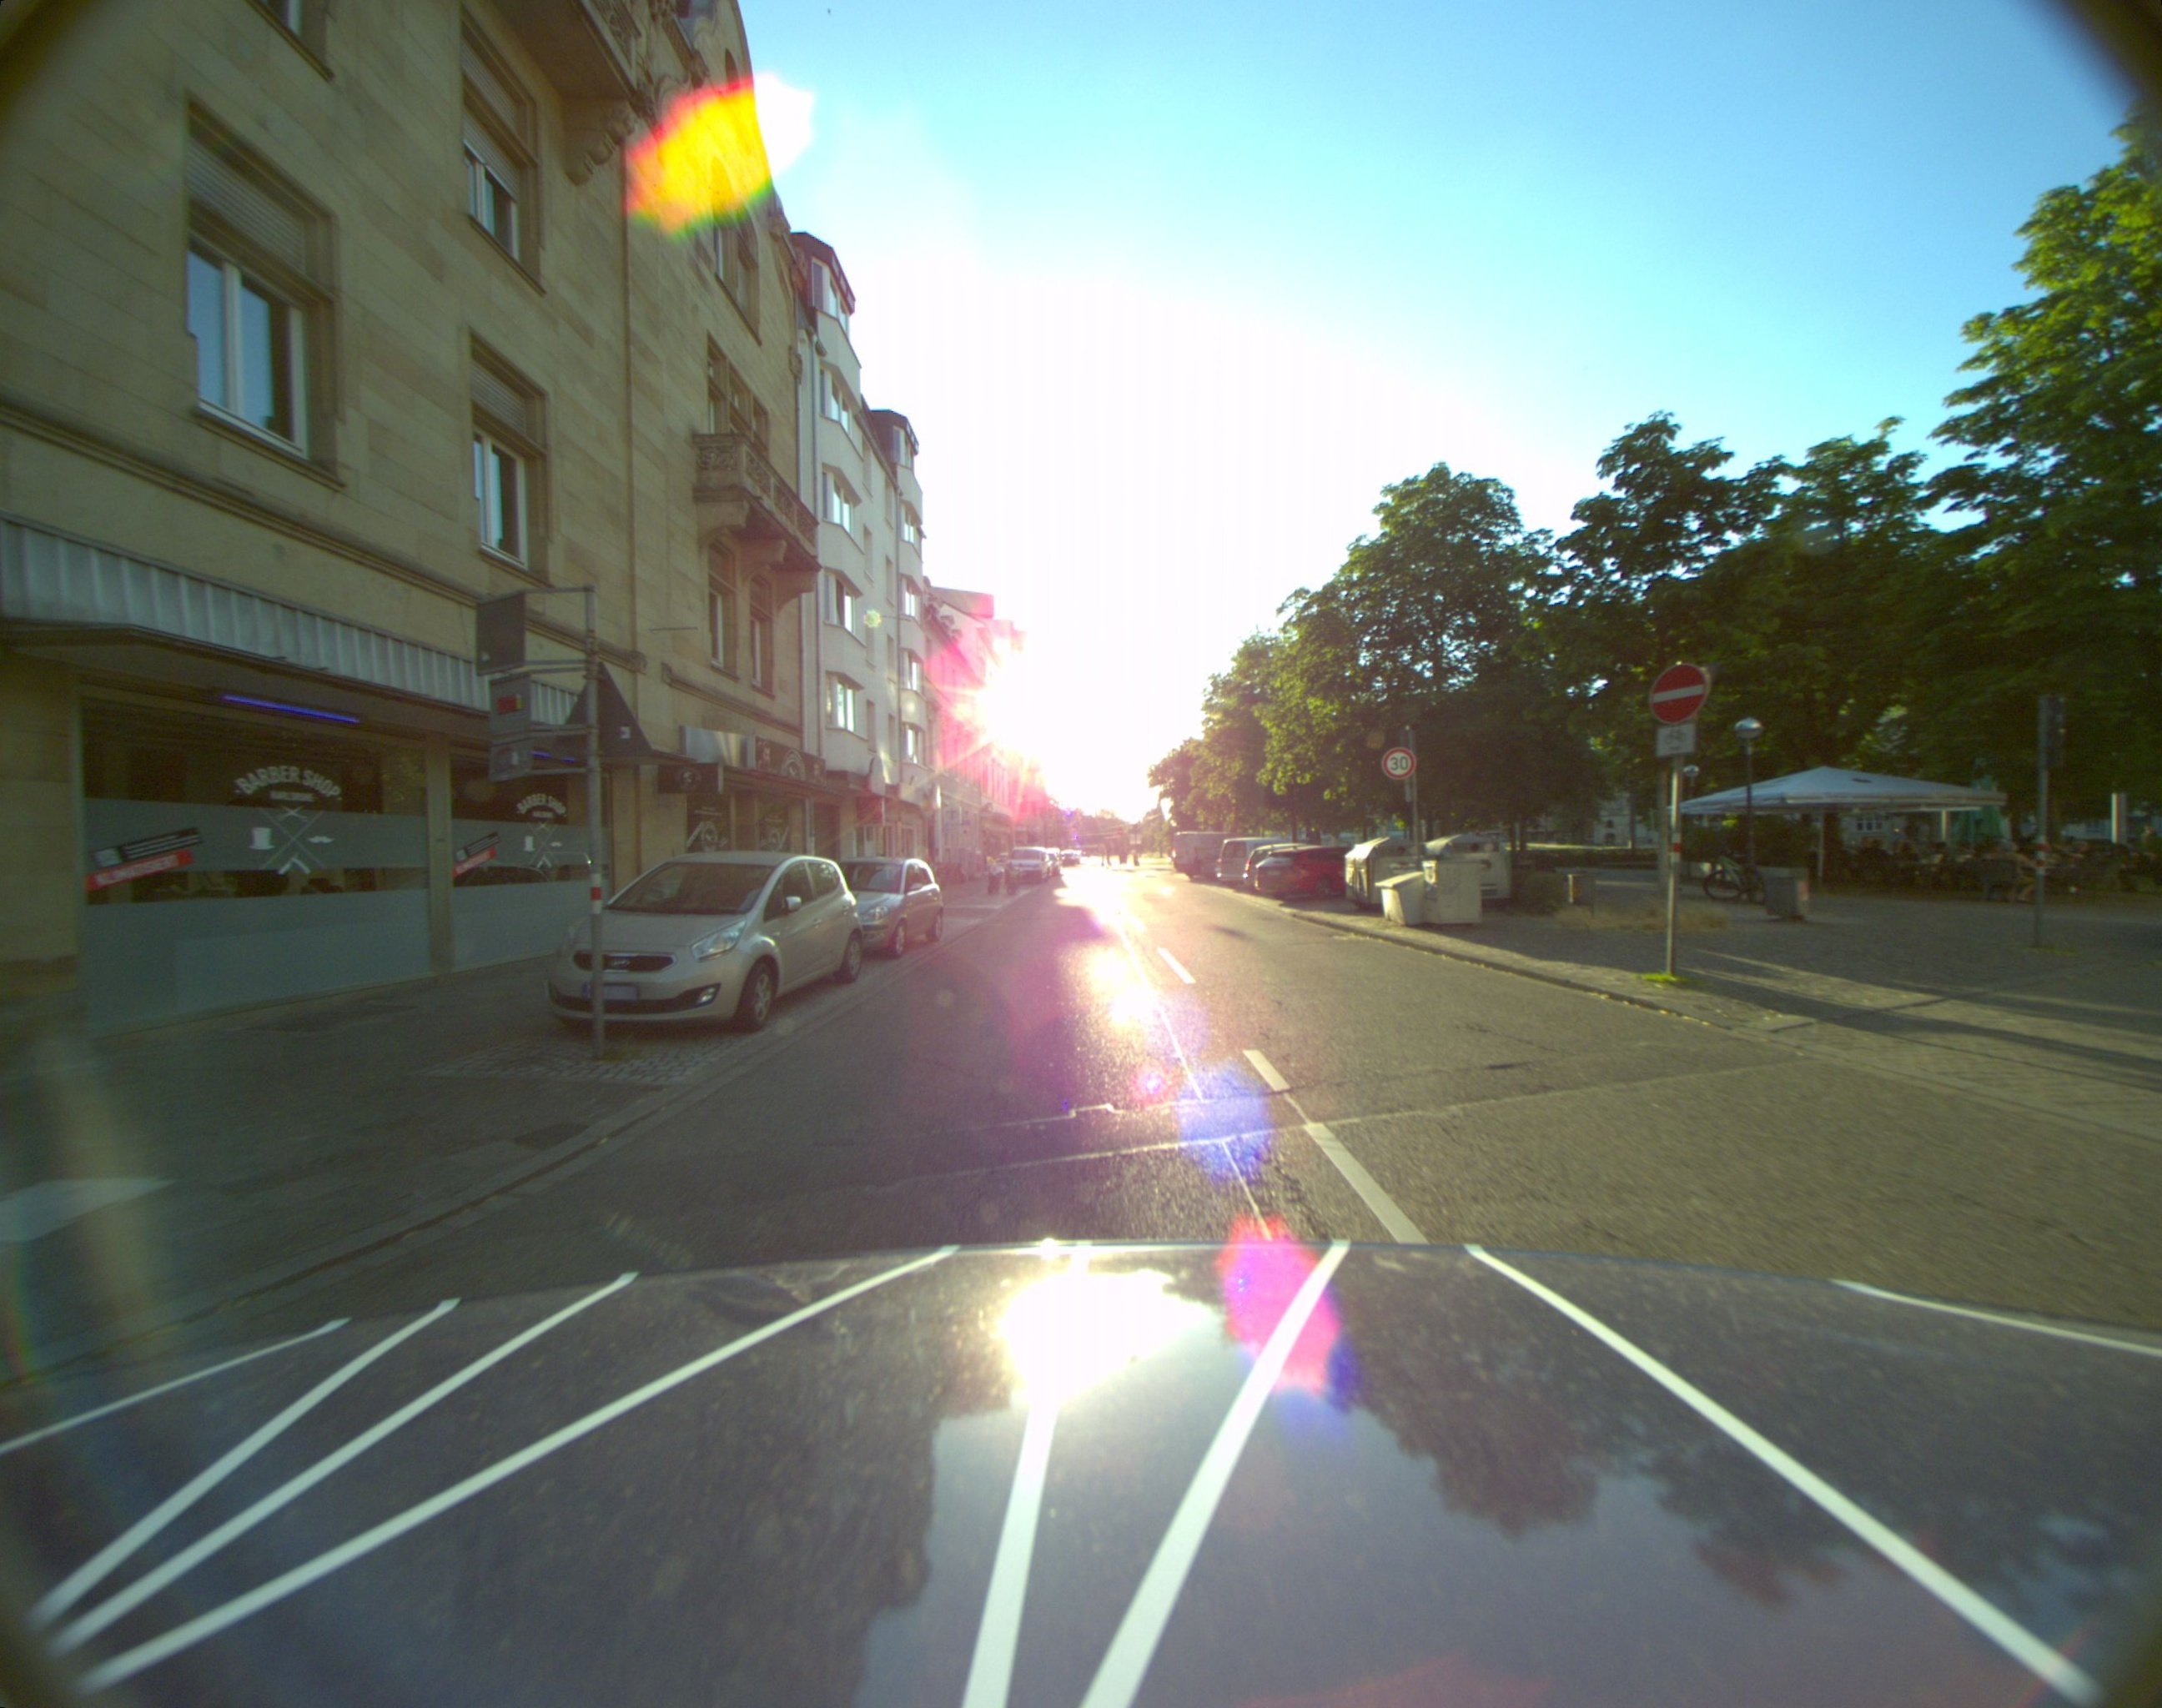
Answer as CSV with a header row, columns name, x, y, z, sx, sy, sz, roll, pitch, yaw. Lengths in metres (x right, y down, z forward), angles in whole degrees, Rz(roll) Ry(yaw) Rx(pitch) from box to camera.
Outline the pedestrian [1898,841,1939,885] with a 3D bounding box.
name,x,y,z,sx,sy,sz,roll,pitch,yaw
pedestrian,22.738,0.238,20.635,0.534,1.167,0.527,0,0,9

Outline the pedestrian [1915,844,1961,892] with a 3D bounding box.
name,x,y,z,sx,sy,sz,roll,pitch,yaw
pedestrian,21.351,0.341,18.937,0.534,1.167,0.527,0,0,9

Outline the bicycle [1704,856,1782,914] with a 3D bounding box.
name,x,y,z,sx,sy,sz,roll,pitch,yaw
bicycle,13.164,0.580,15.163,0.360,1.062,1.812,-2,0,13

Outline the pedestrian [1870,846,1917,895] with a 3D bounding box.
name,x,y,z,sx,sy,sz,roll,pitch,yaw
pedestrian,19.289,0.377,18.047,0.534,1.149,0.527,0,0,9

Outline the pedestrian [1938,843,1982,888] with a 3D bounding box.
name,x,y,z,sx,sy,sz,roll,pitch,yaw
pedestrian,23.027,0.301,19.907,0.534,1.167,0.527,0,0,9

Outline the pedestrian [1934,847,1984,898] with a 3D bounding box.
name,x,y,z,sx,sy,sz,roll,pitch,yaw
pedestrian,20.577,0.426,17.817,0.534,1.167,0.527,0,0,9

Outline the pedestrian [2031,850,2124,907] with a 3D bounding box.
name,x,y,z,sx,sy,sz,roll,pitch,yaw
pedestrian,20.355,0.495,15.539,0.797,1.125,0.851,0,0,-3

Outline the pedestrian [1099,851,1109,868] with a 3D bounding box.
name,x,y,z,sx,sy,sz,roll,pitch,yaw
pedestrian,1.897,0.475,62.478,0.612,1.356,0.565,-2,1,41

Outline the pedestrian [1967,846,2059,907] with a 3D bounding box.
name,x,y,z,sx,sy,sz,roll,pitch,yaw
pedestrian,18.779,0.448,15.328,0.797,1.192,0.851,0,0,-3

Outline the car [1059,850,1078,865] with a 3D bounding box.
name,x,y,z,sx,sy,sz,roll,pitch,yaw
car,-1.344,0.376,84.855,1.794,1.499,3.921,-2,0,2

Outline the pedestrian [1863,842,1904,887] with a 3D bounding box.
name,x,y,z,sx,sy,sz,roll,pitch,yaw
pedestrian,21.278,0.274,20.158,0.534,1.167,0.527,0,0,9

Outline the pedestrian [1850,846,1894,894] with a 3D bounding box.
name,x,y,z,sx,sy,sz,roll,pitch,yaw
pedestrian,19.356,0.382,18.604,0.534,1.147,0.527,0,0,9

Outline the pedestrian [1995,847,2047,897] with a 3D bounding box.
name,x,y,z,sx,sy,sz,roll,pitch,yaw
pedestrian,22.401,0.430,18.113,0.564,1.184,0.522,-1,0,9

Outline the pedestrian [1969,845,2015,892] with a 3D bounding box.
name,x,y,z,sx,sy,sz,roll,pitch,yaw
pedestrian,23.168,0.372,19.329,0.534,1.167,0.527,0,0,9

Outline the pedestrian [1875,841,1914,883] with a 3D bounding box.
name,x,y,z,sx,sy,sz,roll,pitch,yaw
pedestrian,22.783,0.219,21.281,0.534,1.167,0.526,-1,1,9

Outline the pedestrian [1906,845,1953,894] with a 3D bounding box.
name,x,y,z,sx,sy,sz,roll,pitch,yaw
pedestrian,20.659,0.377,18.511,0.534,1.167,0.527,0,0,9

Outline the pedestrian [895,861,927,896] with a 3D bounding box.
name,x,y,z,sx,sy,sz,roll,pitch,yaw
pedestrian,-6.093,0.859,27.214,0.741,1.212,0.792,1,0,31

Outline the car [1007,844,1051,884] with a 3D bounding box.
name,x,y,z,sx,sy,sz,roll,pitch,yaw
car,-2.562,0.475,38.548,1.714,1.824,4.306,-2,0,2

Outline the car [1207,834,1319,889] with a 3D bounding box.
name,x,y,z,sx,sy,sz,roll,pitch,yaw
car,6.907,0.257,28.729,4.007,1.867,1.866,-2,0,-34

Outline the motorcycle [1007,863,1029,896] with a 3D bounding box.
name,x,y,z,sx,sy,sz,roll,pitch,yaw
motorcycle,-2.419,0.956,29.372,0.589,1.193,2.210,-2,0,1

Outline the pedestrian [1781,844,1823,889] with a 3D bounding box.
name,x,y,z,sx,sy,sz,roll,pitch,yaw
pedestrian,18.812,0.325,19.824,0.580,1.165,0.535,0,1,9

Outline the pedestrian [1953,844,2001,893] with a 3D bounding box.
name,x,y,z,sx,sy,sz,roll,pitch,yaw
pedestrian,21.512,0.348,18.249,0.534,1.167,0.527,0,0,9

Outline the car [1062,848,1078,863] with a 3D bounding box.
name,x,y,z,sx,sy,sz,roll,pitch,yaw
car,-1.313,0.161,92.393,1.788,1.794,4.401,-2,0,0

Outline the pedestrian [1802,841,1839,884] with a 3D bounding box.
name,x,y,z,sx,sy,sz,roll,pitch,yaw
pedestrian,20.976,0.240,21.546,0.534,1.209,0.527,0,0,9

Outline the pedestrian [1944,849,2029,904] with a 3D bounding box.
name,x,y,z,sx,sy,sz,roll,pitch,yaw
pedestrian,19.360,0.473,16.262,0.797,1.151,0.851,0,0,-3

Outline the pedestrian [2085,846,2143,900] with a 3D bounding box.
name,x,y,z,sx,sy,sz,roll,pitch,yaw
pedestrian,22.718,0.412,16.721,0.534,1.167,0.526,-1,1,9

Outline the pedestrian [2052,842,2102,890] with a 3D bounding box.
name,x,y,z,sx,sy,sz,roll,pitch,yaw
pedestrian,24.925,0.297,19.029,0.534,1.167,0.527,0,0,9

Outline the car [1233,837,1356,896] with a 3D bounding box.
name,x,y,z,sx,sy,sz,roll,pitch,yaw
car,7.167,0.380,25.394,4.006,1.686,1.745,-3,1,-34

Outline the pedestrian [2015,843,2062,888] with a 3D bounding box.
name,x,y,z,sx,sy,sz,roll,pitch,yaw
pedestrian,24.864,0.294,19.746,0.534,1.167,0.527,0,0,9

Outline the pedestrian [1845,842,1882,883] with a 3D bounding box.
name,x,y,z,sx,sy,sz,roll,pitch,yaw
pedestrian,22.610,0.235,21.958,0.534,1.167,0.526,-1,1,9

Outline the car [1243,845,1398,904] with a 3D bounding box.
name,x,y,z,sx,sy,sz,roll,pitch,yaw
car,6.899,0.537,21.903,4.005,1.477,1.996,-1,1,-28

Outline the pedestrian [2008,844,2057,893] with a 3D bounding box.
name,x,y,z,sx,sy,sz,roll,pitch,yaw
pedestrian,23.292,0.354,18.608,0.534,1.167,0.527,0,0,9

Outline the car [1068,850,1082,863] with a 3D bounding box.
name,x,y,z,sx,sy,sz,roll,pitch,yaw
car,-0.785,0.307,98.711,1.645,1.519,4.000,-2,0,2

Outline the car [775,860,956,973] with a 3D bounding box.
name,x,y,z,sx,sy,sz,roll,pitch,yaw
car,-3.410,0.905,12.824,1.684,1.552,4.001,0,0,4

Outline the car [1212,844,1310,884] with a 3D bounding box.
name,x,y,z,sx,sy,sz,roll,pitch,yaw
car,7.610,0.395,32.046,4.007,1.483,1.845,-3,1,-37

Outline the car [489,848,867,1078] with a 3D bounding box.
name,x,y,z,sx,sy,sz,roll,pitch,yaw
car,-3.678,0.846,7.872,1.700,1.759,4.000,-1,0,1

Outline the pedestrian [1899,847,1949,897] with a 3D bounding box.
name,x,y,z,sx,sy,sz,roll,pitch,yaw
pedestrian,19.909,0.420,17.954,0.534,1.149,0.526,1,1,9

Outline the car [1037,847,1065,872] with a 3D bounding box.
name,x,y,z,sx,sy,sz,roll,pitch,yaw
car,-2.216,0.352,56.814,1.797,1.781,4.092,-1,1,2

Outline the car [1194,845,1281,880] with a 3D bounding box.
name,x,y,z,sx,sy,sz,roll,pitch,yaw
car,7.349,0.392,35.508,4.007,1.459,1.878,-2,0,-40

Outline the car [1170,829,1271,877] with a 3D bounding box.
name,x,y,z,sx,sy,sz,roll,pitch,yaw
car,7.149,-0.062,39.039,4.619,2.238,2.198,-3,1,-25

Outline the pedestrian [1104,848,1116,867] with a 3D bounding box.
name,x,y,z,sx,sy,sz,roll,pitch,yaw
pedestrian,2.433,0.289,63.253,0.693,1.550,0.701,-2,0,35

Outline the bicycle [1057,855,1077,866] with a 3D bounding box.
name,x,y,z,sx,sy,sz,roll,pitch,yaw
bicycle,-1.343,0.586,72.385,1.794,0.984,0.541,2,-1,-9

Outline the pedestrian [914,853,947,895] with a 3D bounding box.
name,x,y,z,sx,sy,sz,roll,pitch,yaw
pedestrian,-5.566,0.724,28.173,0.957,1.478,0.992,-2,0,1

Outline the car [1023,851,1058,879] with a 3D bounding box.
name,x,y,z,sx,sy,sz,roll,pitch,yaw
car,-2.350,0.602,44.898,1.671,1.535,3.883,-2,0,1

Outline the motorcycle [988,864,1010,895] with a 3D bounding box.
name,x,y,z,sx,sy,sz,roll,pitch,yaw
motorcycle,-3.221,0.984,29.974,0.589,1.117,2.210,-2,0,1

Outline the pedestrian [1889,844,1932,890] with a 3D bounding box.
name,x,y,z,sx,sy,sz,roll,pitch,yaw
pedestrian,21.355,0.334,19.566,0.534,1.167,0.527,0,0,9

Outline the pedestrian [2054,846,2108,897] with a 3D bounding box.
name,x,y,z,sx,sy,sz,roll,pitch,yaw
pedestrian,23.325,0.394,17.735,0.534,1.167,0.527,0,0,9

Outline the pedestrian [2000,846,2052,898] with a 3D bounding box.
name,x,y,z,sx,sy,sz,roll,pitch,yaw
pedestrian,21.781,0.407,17.514,0.534,1.167,0.526,-1,1,9

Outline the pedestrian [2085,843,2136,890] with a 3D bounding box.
name,x,y,z,sx,sy,sz,roll,pitch,yaw
pedestrian,25.616,0.304,18.907,0.534,1.167,0.527,0,0,9

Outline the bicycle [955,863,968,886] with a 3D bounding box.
name,x,y,z,sx,sy,sz,roll,pitch,yaw
bicycle,-5.732,0.987,36.319,0.456,1.006,1.710,-2,2,-13

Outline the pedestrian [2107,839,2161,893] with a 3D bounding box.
name,x,y,z,sx,sy,sz,roll,pitch,yaw
pedestrian,25.109,0.274,18.128,0.534,1.268,0.527,0,0,9

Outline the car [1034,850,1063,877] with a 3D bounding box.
name,x,y,z,sx,sy,sz,roll,pitch,yaw
car,-2.130,0.597,51.200,1.661,1.655,4.108,-2,0,1
